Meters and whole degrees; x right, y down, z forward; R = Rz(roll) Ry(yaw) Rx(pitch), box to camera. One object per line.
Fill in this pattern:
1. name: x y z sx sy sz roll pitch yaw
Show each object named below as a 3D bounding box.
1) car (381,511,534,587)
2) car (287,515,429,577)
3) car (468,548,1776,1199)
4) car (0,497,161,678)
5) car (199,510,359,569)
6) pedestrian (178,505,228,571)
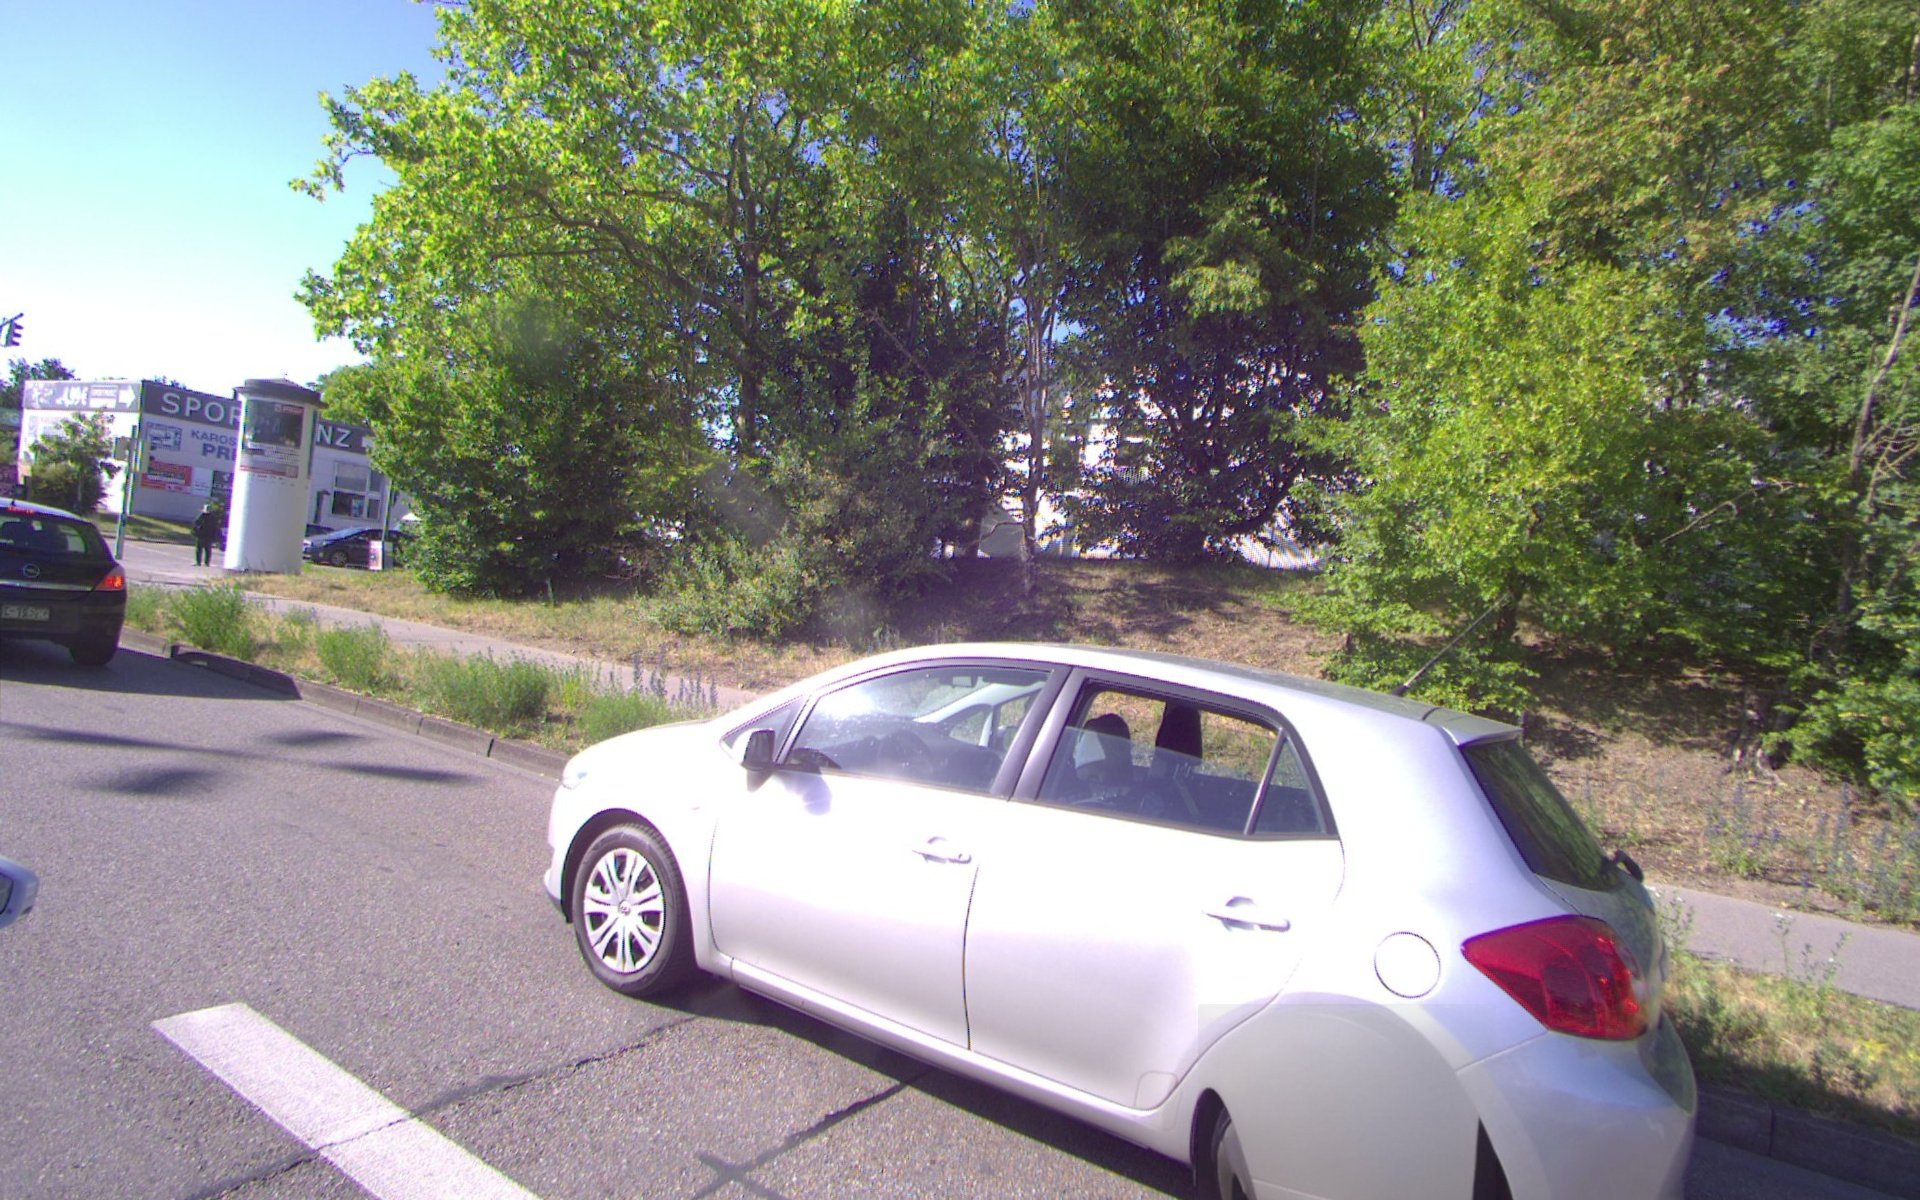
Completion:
1. car: -22.676 -2.227 45.687 1.967 2.706 5.840 6 0 32
2. car: -22.985 -2.026 38.598 1.611 1.668 4.316 6 -2 31
3. car: 0.254 0.860 3.809 4.039 1.555 1.787 7 -1 32
4. car: -9.678 -0.311 9.605 4.299 1.458 1.737 7 -2 32
5. car: -26.589 -2.315 39.459 1.729 1.484 4.830 6 -2 30
6. pedestrian: -21.083 -1.724 28.024 0.506 1.688 0.818 6 -1 31
